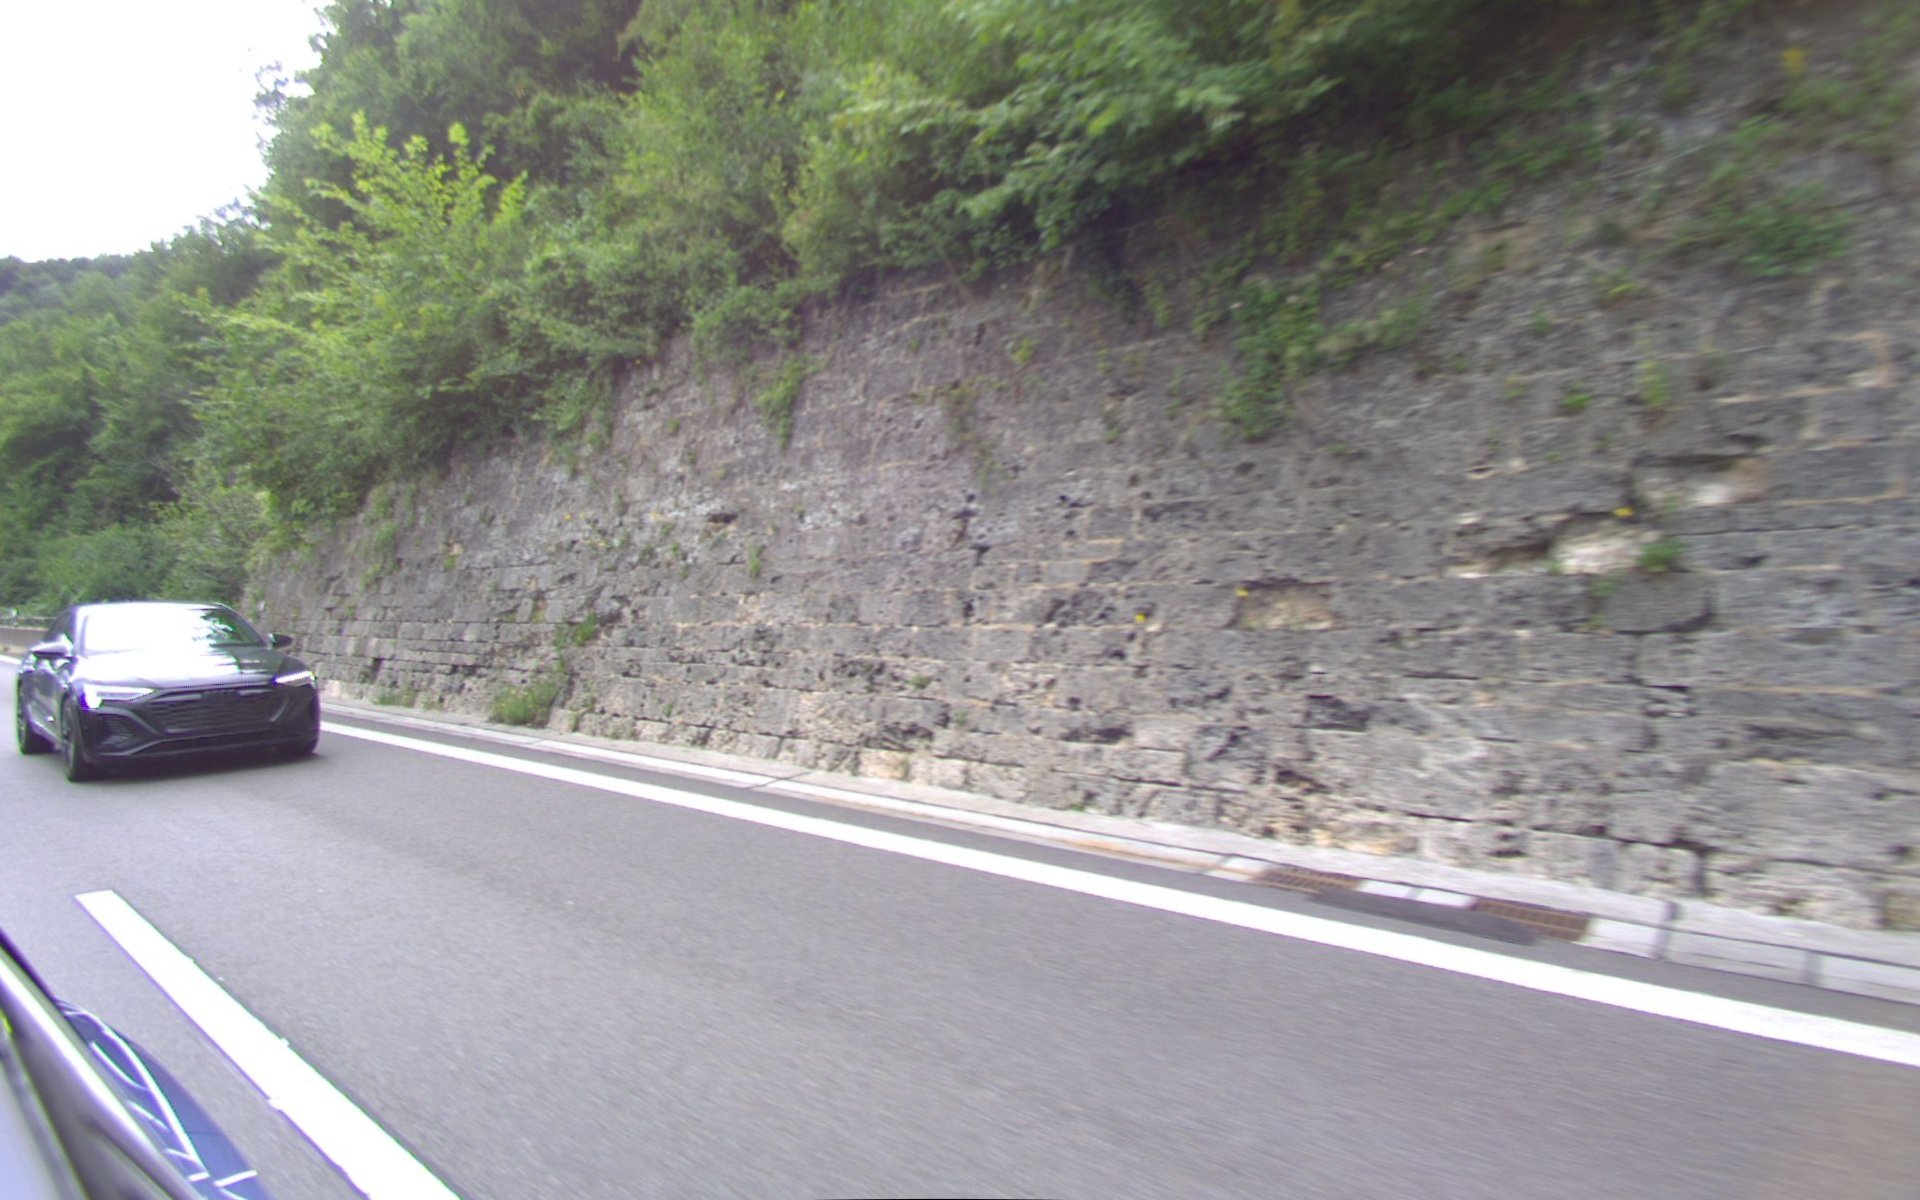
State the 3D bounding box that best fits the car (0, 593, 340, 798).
[{"bbox_3d":[-8.531,0.813,10.670,5.005,1.644,1.973,-1,0,41],"label":"car"}]
